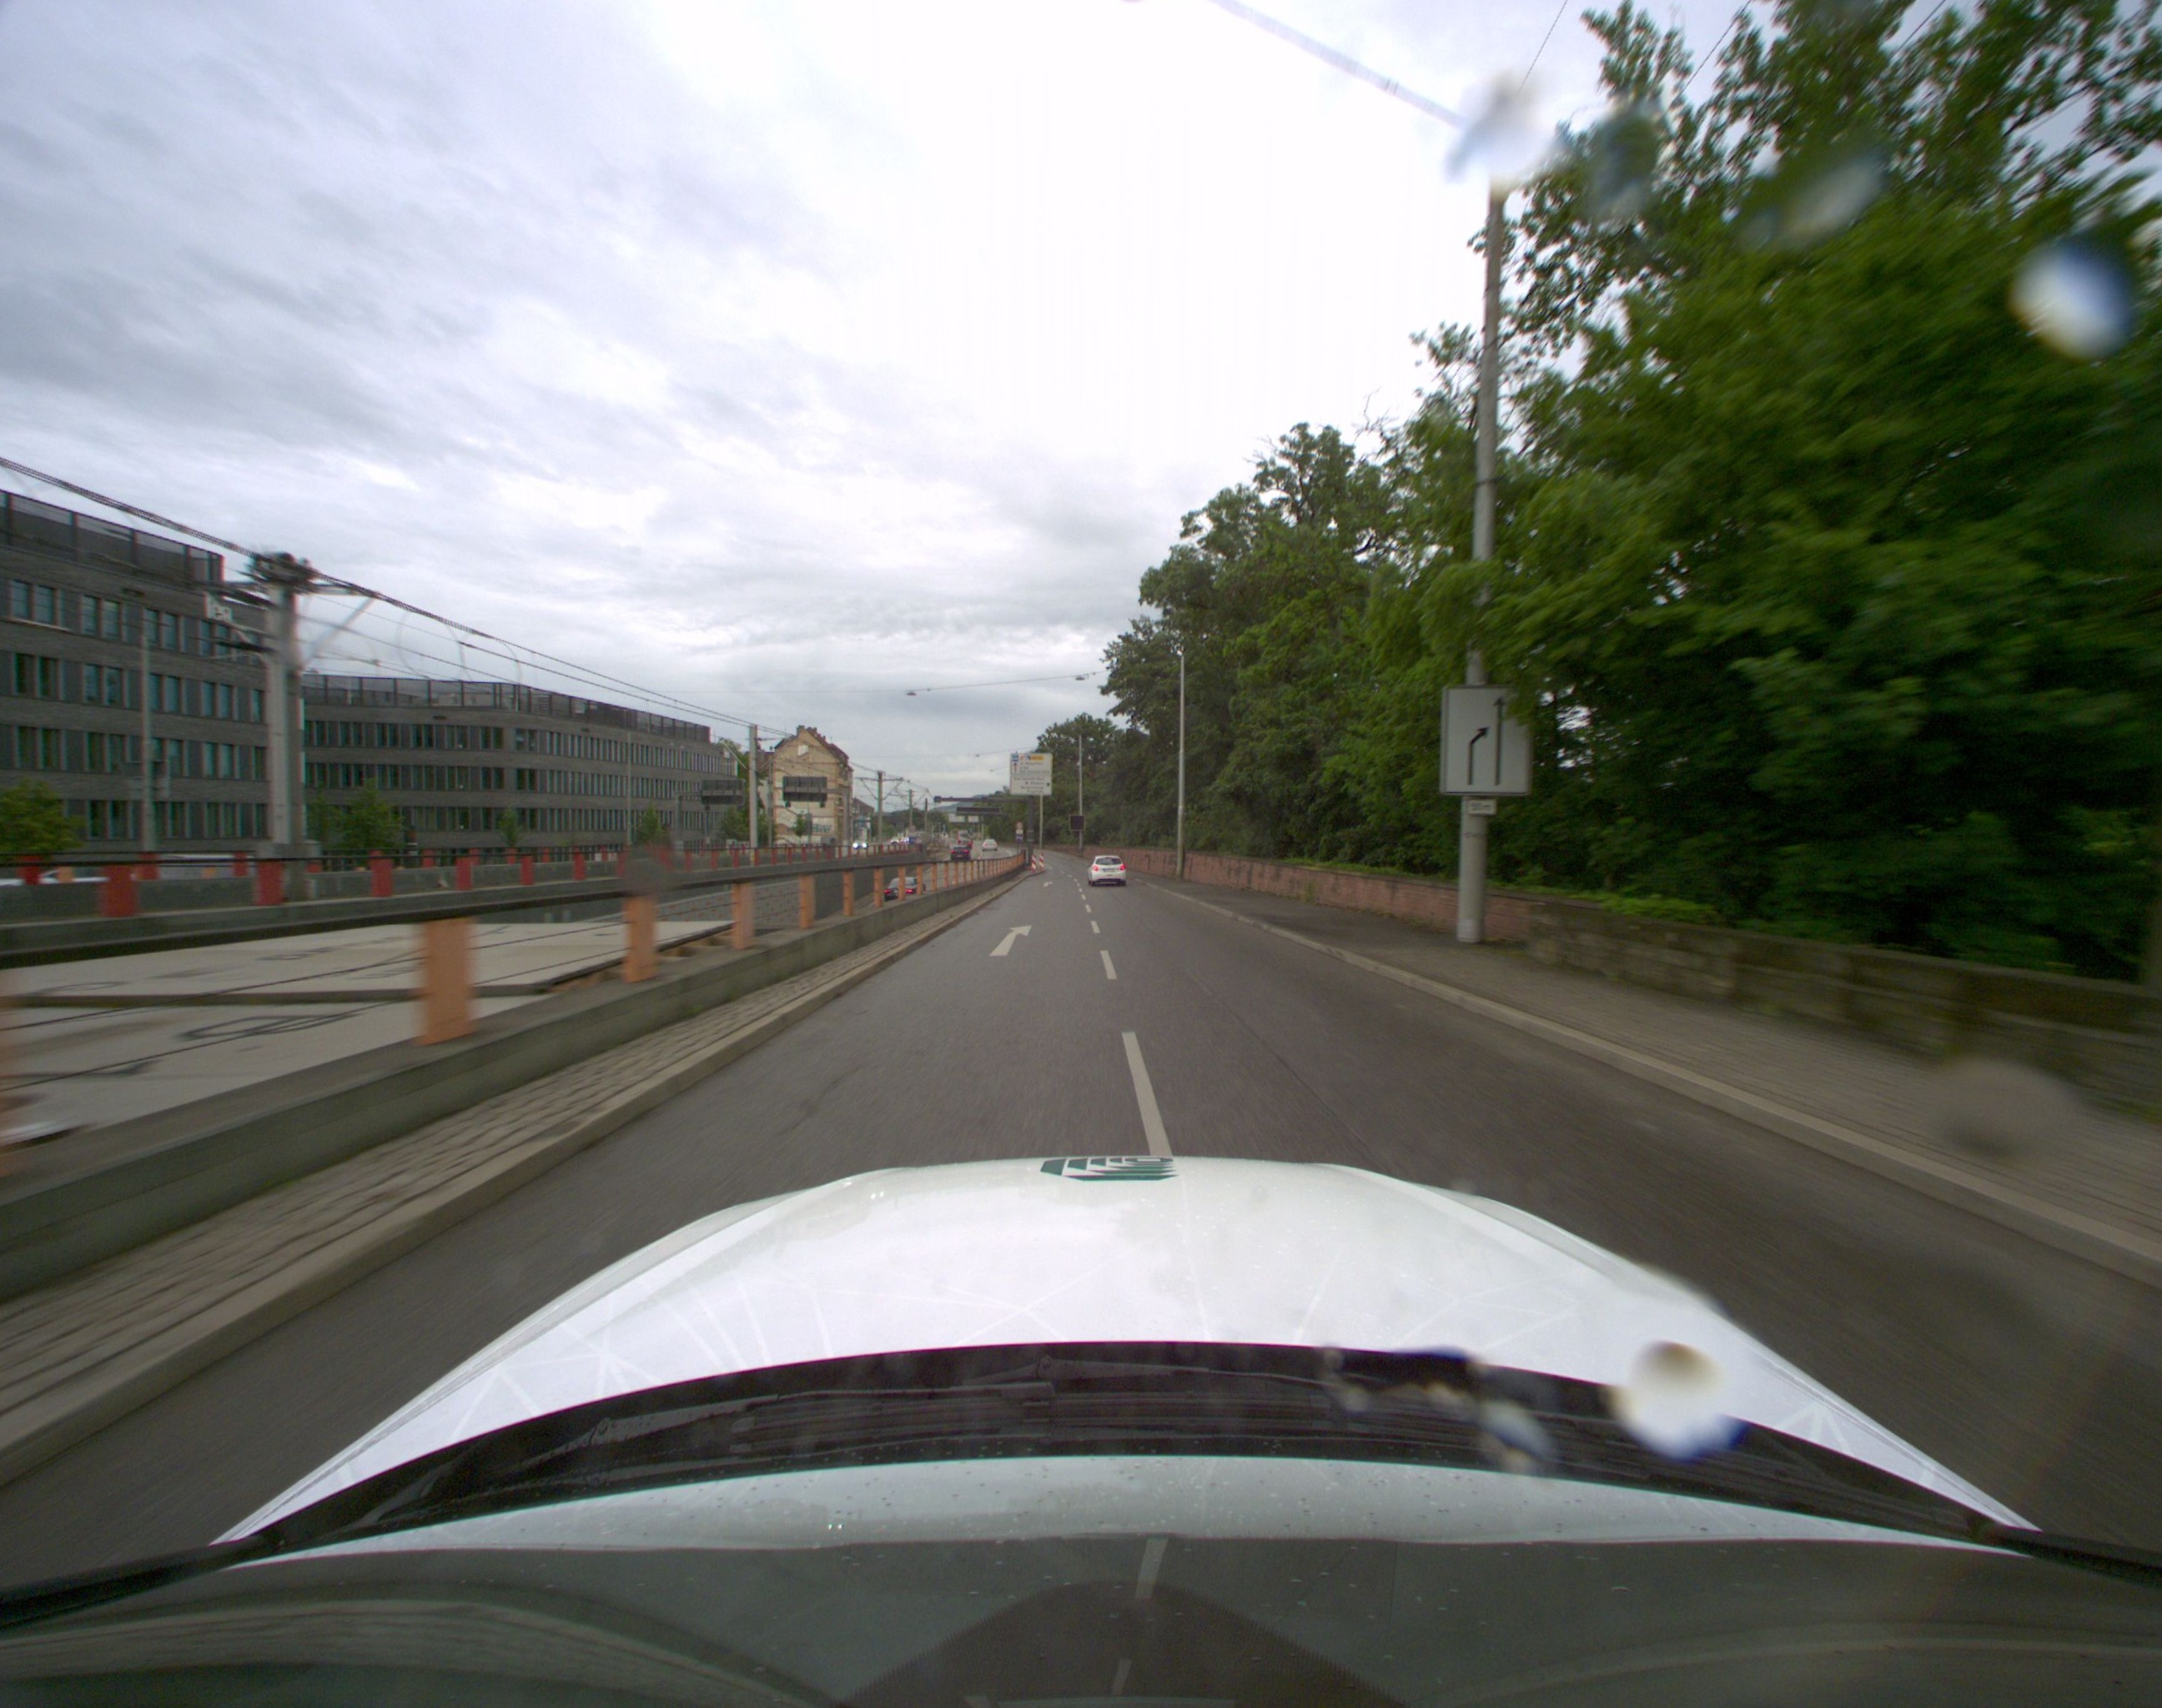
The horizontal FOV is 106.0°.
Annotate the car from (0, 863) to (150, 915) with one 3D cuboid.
[{"bbox_3d":[-36.934,1.246,29.332,1.820,1.749,4.270,1,-2,-2],"label":"car"}]

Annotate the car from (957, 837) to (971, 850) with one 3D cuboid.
[{"bbox_3d":[-18.096,-1.591,125.864,1.994,1.872,3.987,-1,0,-10],"label":"car"}]

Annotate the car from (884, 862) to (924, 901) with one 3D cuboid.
[{"bbox_3d":[-10.278,1.579,47.394,1.718,1.890,3.532,0,4,-3],"label":"car"}]

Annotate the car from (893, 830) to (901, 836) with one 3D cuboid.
[{"bbox_3d":[-49.291,-5.600,218.006,1.823,1.584,3.823,0,2,-7],"label":"car"}]

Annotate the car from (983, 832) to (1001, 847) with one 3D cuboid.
[{"bbox_3d":[-11.516,-1.861,105.553,2.081,1.872,4.083,-1,0,-9],"label":"car"}]

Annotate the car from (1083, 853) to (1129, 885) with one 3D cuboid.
[{"bbox_3d":[1.202,0.803,40.535,1.951,1.488,3.994,1,-2,-4],"label":"car"}]

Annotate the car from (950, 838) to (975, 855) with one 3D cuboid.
[{"bbox_3d":[-11.406,-0.677,78.606,1.988,1.575,3.998,-1,0,-2],"label":"car"}]

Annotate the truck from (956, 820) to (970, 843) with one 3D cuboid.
[{"bbox_3d":[-32.431,-6.120,223.873,3.463,5.402,12.014,1,-2,-8],"label":"truck"}]

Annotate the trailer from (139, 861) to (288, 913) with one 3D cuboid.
[{"bbox_3d":[-37.081,1.335,35.002,1.820,2.074,4.271,1,0,-2],"label":"trailer"}]

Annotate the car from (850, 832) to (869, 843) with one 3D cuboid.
[{"bbox_3d":[-33.297,-2.559,122.387,1.819,1.584,3.832,1,2,1],"label":"car"}]
